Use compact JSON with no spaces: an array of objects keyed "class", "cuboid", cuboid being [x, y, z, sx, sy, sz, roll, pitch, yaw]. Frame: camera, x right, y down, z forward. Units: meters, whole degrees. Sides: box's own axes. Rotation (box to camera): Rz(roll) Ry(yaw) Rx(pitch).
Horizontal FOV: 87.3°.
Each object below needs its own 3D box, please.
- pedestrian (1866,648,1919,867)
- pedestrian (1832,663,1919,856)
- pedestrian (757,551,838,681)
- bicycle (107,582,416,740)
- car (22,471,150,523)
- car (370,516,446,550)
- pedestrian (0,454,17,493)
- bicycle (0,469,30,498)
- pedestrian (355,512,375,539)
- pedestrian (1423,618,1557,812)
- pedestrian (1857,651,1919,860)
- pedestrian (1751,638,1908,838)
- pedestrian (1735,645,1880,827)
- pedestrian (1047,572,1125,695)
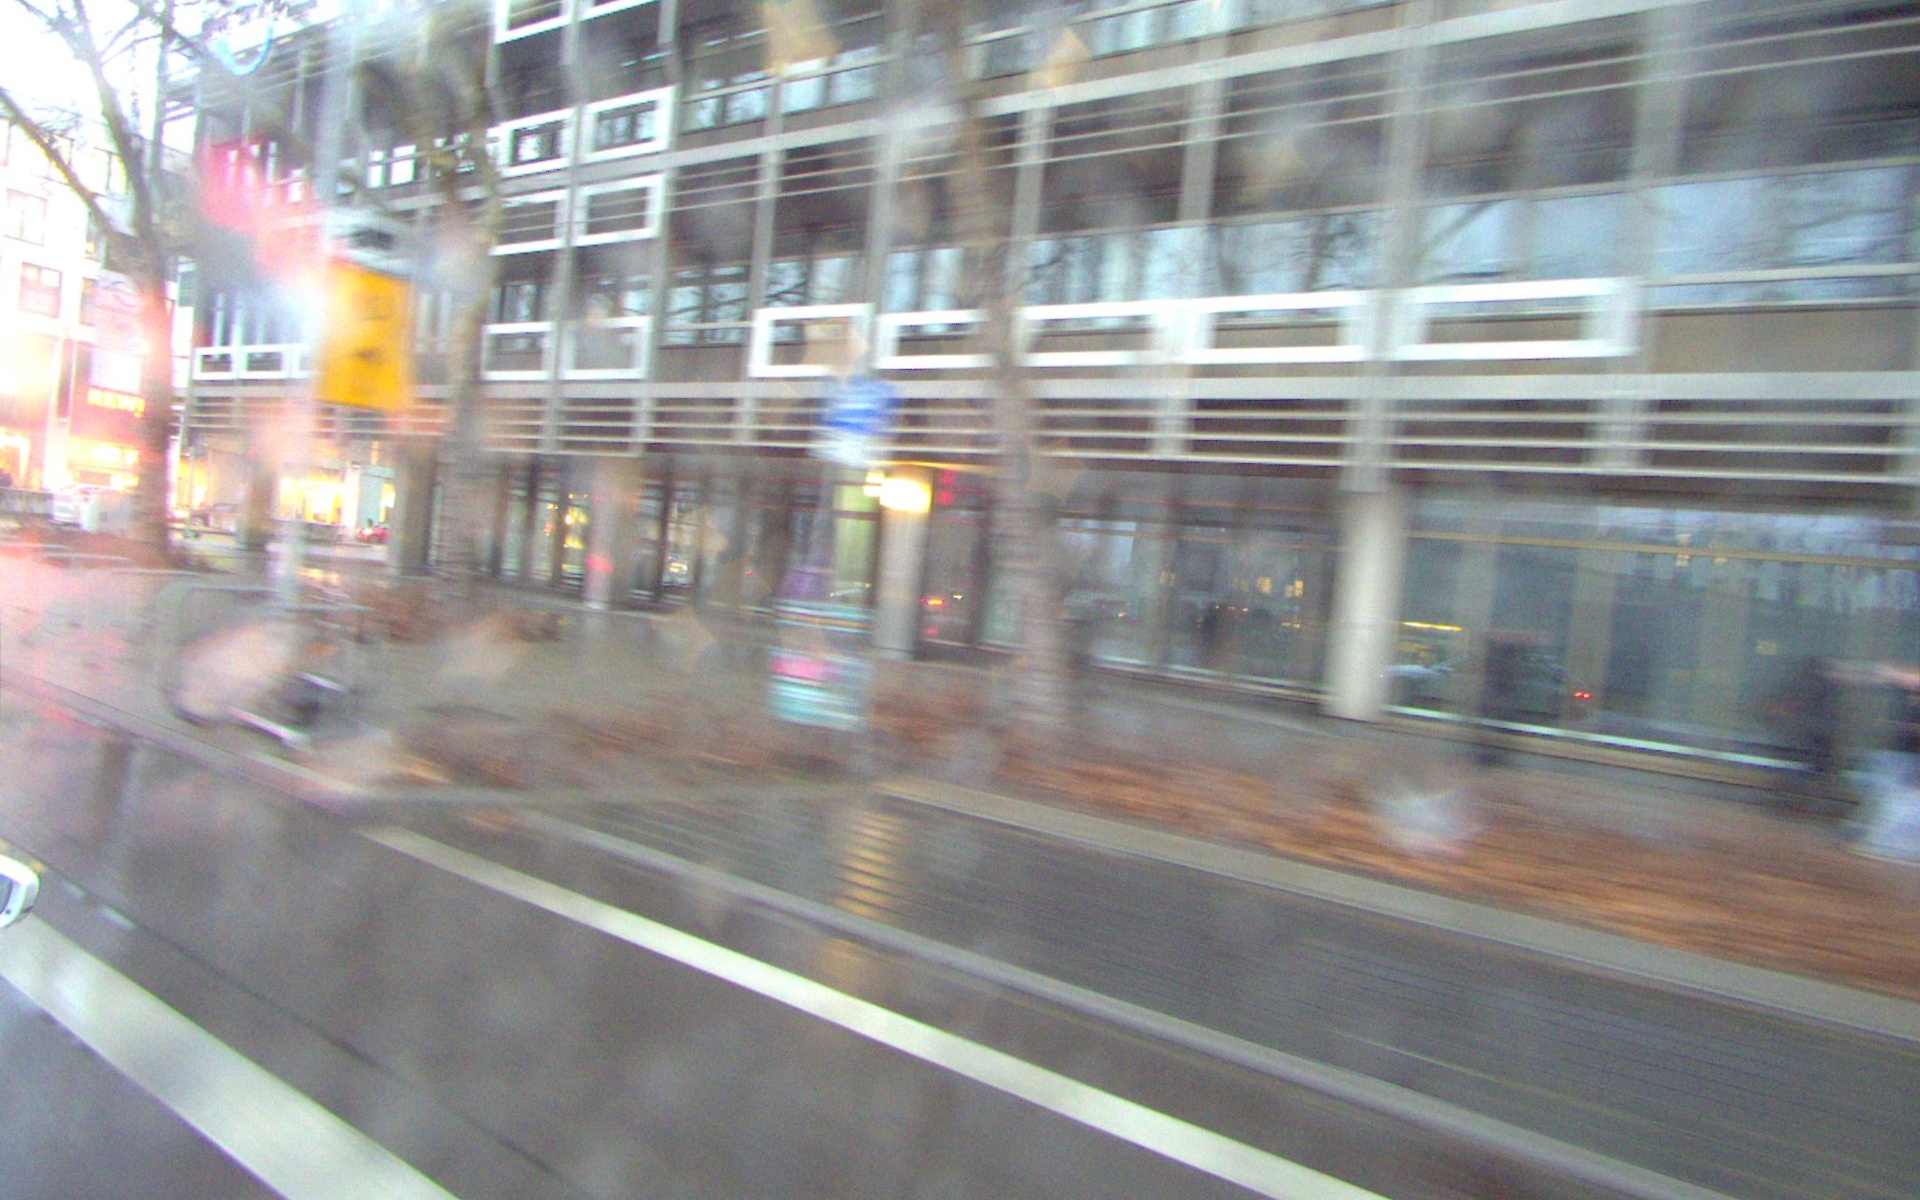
[{"class":"pedestrian","cuboid":[7.874,1.274,7.916,0.859,1.690,0.500,7,2,33]},{"class":"pedestrian","cuboid":[8.301,1.394,8.836,0.733,1.585,0.483,7,2,32]},{"class":"pedestrian","cuboid":[-2.075,0.208,12.896,0.605,1.564,0.648,7,2,34]},{"class":"bicycle","cuboid":[-5.140,0.414,7.542,0.607,0.987,1.788,7,3,28]},{"class":"car","cuboid":[-41.544,-4.867,47.910,1.680,1.784,4.301,8,2,36]},{"class":"car","cuboid":[-33.334,-4.034,60.819,1.648,1.602,3.571,6,1,31]},{"class":"pedestrian","cuboid":[-41.267,-5.472,43.397,0.777,1.616,0.606,4,3,-42]},{"class":"bicycle","cuboid":[-41.373,-5.085,43.364,1.838,1.107,0.610,5,2,-42]},{"class":"pedestrian","cuboid":[-39.073,-4.870,66.081,0.698,1.651,0.795,7,0,33]},{"class":"pedestrian","cuboid":[4.756,0.992,9.009,0.824,1.544,0.864,7,2,33]},{"class":"pedestrian","cuboid":[8.094,1.308,8.384,0.702,1.690,0.378,7,3,33]},{"class":"pedestrian","cuboid":[8.314,1.286,9.669,0.828,1.741,0.659,7,2,28]},{"class":"pedestrian","cuboid":[8.566,1.343,10.216,0.828,1.676,0.640,7,2,28]},{"class":"pedestrian","cuboid":[1.831,0.481,14.627,0.767,1.678,0.616,7,2,33]}]
